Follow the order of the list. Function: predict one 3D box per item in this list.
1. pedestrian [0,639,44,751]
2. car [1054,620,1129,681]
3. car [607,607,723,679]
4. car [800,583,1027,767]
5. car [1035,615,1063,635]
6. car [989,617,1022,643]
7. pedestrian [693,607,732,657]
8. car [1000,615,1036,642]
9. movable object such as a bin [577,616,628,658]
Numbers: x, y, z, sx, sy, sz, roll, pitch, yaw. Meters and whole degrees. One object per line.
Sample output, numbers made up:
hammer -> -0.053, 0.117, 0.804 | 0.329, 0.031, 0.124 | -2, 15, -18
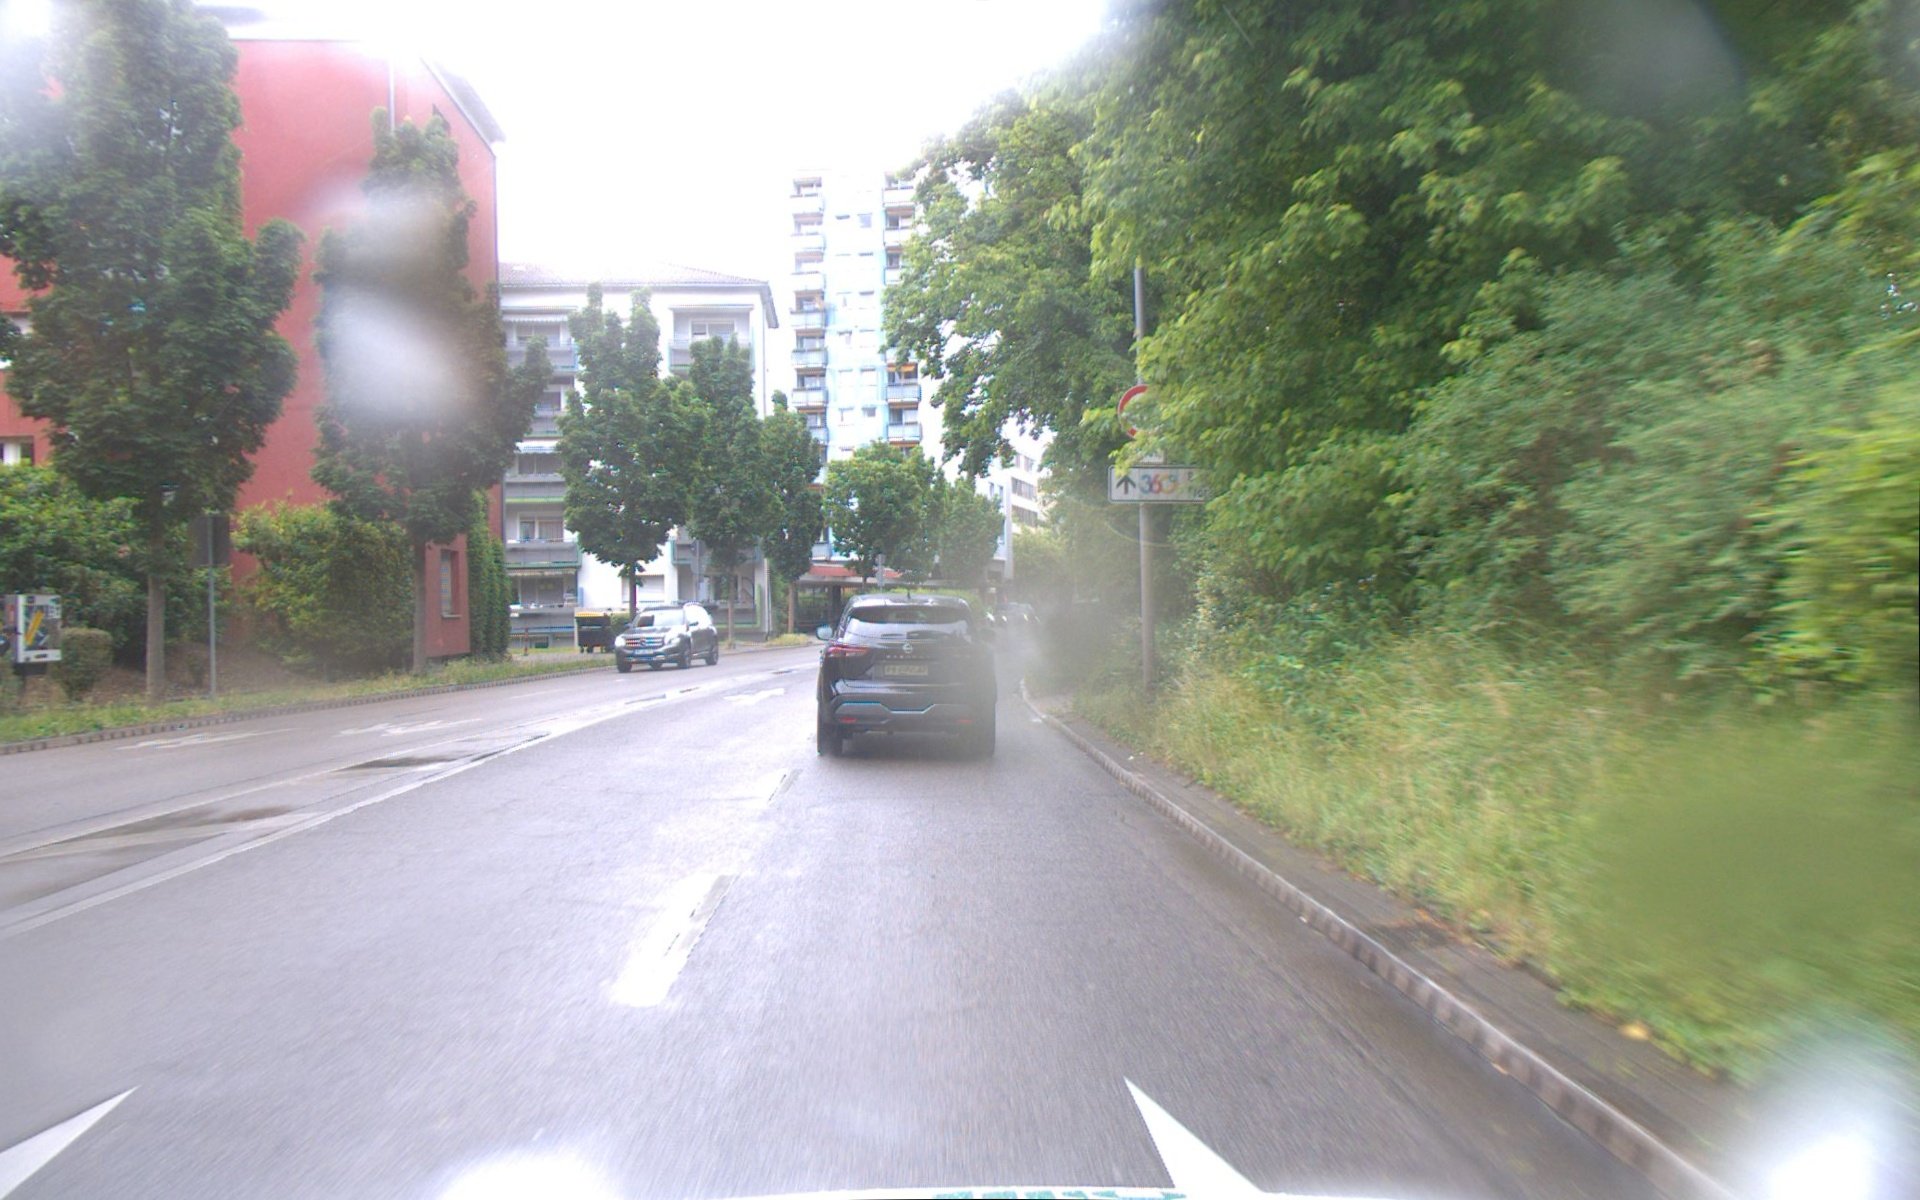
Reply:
pedestrian -> -13.754, 1.347, 23.627 | 0.678, 1.544, 1.070 | -2, 0, 2
car -> 4.823, 1.802, 60.176 | 1.951, 2.049, 4.003 | -2, 0, 15
car -> -7.669, 1.088, 43.467 | 1.882, 1.659, 4.504 | -3, 0, 4
car -> -0.627, 0.725, 17.720 | 1.923, 1.682, 3.992 | -2, 0, -9
car -> 7.050, 1.970, 130.618 | 1.834, 1.415, 4.630 | -3, 0, 7
car -> 3.096, 2.027, 112.463 | 1.834, 1.630, 4.467 | -3, 0, 6
pedestrian -> -9.347, 1.184, 62.589 | 1.110, 1.835, 1.264 | -2, 0, 7
car -> 3.518, 1.691, 99.359 | 1.802, 1.409, 4.363 | -3, 0, 5
movable object such as a bin -> -12.131, 1.234, 56.162 | 1.133, 1.354, 1.967 | -2, 0, 5
